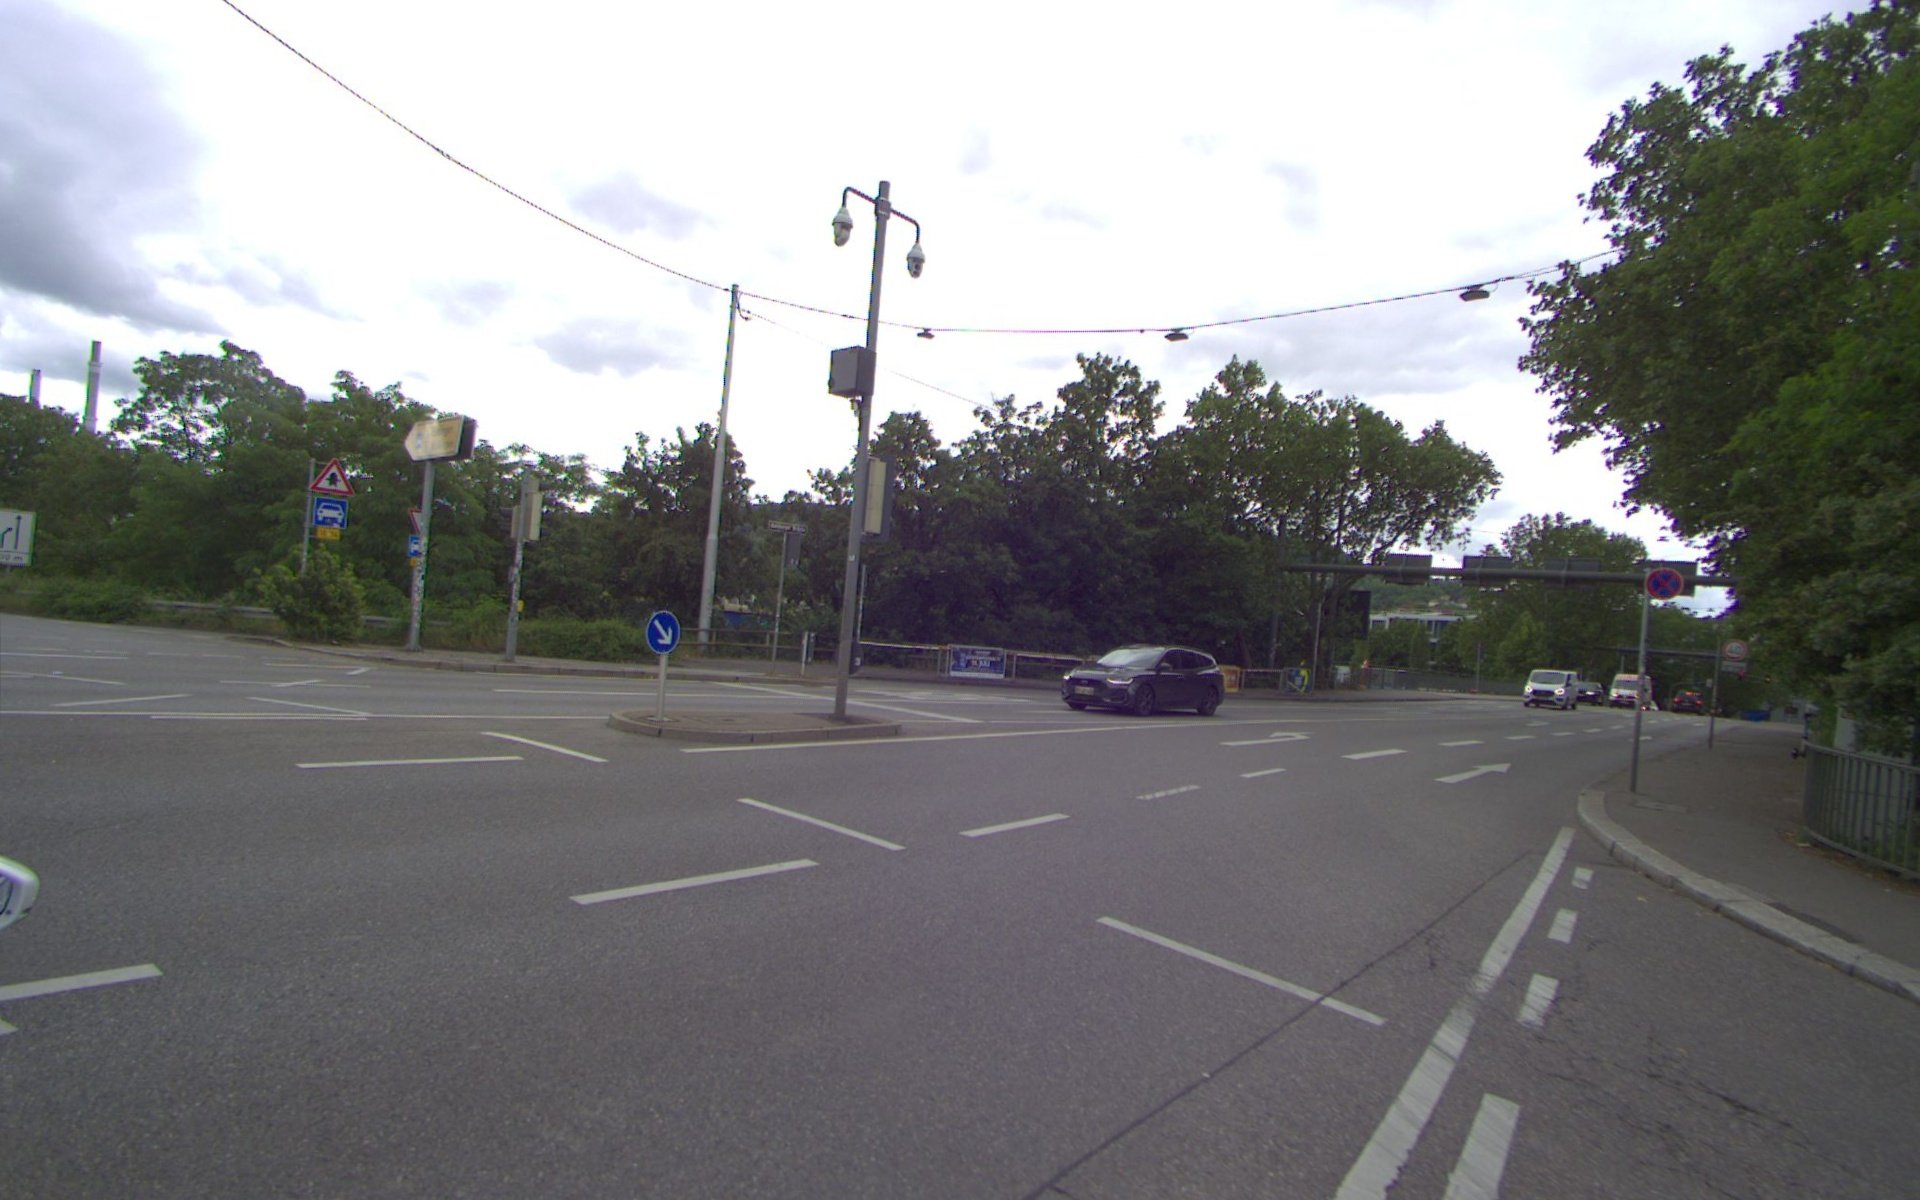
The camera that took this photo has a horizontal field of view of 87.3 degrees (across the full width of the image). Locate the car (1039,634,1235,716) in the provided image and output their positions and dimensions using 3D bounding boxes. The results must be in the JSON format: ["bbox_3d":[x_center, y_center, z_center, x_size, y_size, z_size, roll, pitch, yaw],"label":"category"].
[{"bbox_3d":[3.857,1.596,21.386,1.910,1.437,4.426,3,-2,44],"label":"car"}]

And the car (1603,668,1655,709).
[{"bbox_3d":[48.373,6.426,72.727,2.300,2.555,4.925,7,0,41],"label":"car"}]

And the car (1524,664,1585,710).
[{"bbox_3d":[31.252,4.586,52.839,1.907,2.022,4.434,6,-2,40],"label":"car"}]

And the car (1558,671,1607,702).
[{"bbox_3d":[46.794,6.467,75.549,2.300,1.941,4.921,5,1,41],"label":"car"}]

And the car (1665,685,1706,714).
[{"bbox_3d":[55.113,7.509,76.430,1.977,2.037,3.974,-1,-3,44],"label":"car"}]
